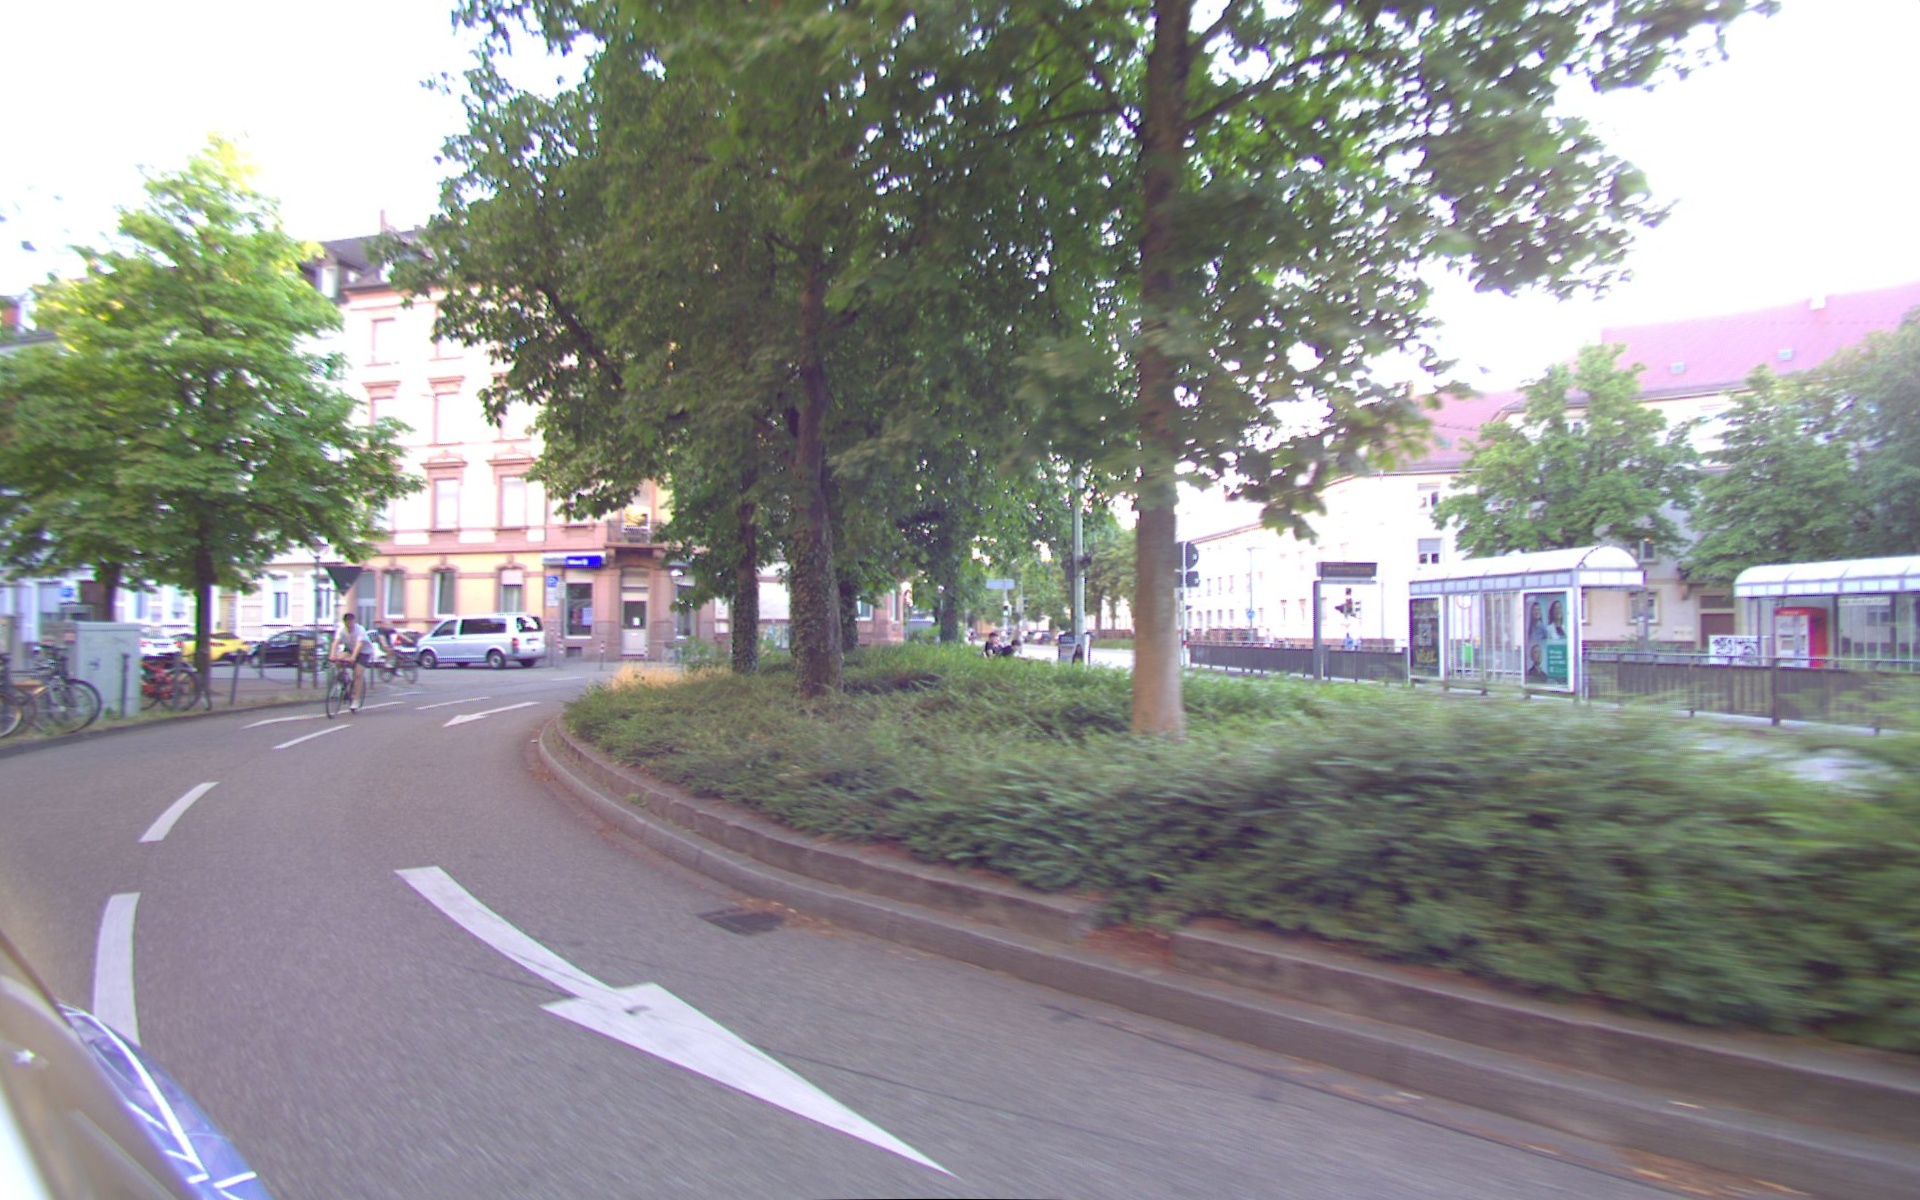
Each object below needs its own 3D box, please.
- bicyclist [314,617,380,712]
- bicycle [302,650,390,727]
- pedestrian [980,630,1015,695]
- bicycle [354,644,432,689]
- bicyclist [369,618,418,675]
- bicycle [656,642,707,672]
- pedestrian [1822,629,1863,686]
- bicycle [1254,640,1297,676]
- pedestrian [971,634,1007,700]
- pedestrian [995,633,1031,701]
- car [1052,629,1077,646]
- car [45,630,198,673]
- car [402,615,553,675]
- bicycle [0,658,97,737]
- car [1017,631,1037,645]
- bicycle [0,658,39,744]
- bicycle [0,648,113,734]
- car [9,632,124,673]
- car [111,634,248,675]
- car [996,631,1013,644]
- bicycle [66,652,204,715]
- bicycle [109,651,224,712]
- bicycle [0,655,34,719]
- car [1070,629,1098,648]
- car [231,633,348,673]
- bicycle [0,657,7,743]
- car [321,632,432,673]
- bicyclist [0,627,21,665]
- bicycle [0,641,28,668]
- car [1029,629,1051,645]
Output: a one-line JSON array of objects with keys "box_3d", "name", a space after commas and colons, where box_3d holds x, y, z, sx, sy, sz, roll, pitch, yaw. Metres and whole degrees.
[{"box_3d": [-10.111, 1.047, 16.733, 0.675, 1.524, 0.976, 0, -2, -15], "name": "bicyclist"}, {"box_3d": [-10.114, 1.416, 16.746, 0.675, 1.160, 2.121, 0, -2, -15], "name": "bicycle"}, {"box_3d": [0.863, 1.419, 23.107, 0.649, 1.442, 0.615, -1, -2, 16], "name": "pedestrian"}, {"box_3d": [-15.254, 1.777, 27.222, 2.101, 1.160, 0.681, -1, -2, 23], "name": "bicycle"}, {"box_3d": [-15.253, 1.247, 27.246, 0.966, 1.524, 0.681, -1, -2, 23], "name": "bicyclist"}, {"box_3d": [-10.374, 2.114, 37.708, 1.774, 1.091, 0.560, 0, -1, 3], "name": "bicycle"}, {"box_3d": [33.378, 2.170, 38.292, 1.059, 2.102, 1.001, -2, -3, 39], "name": "pedestrian"}, {"box_3d": [9.780, 1.783, 31.451, 0.538, 1.059, 1.858, 0, -2, -7], "name": "bicycle"}, {"box_3d": [0.653, 1.488, 22.513, 0.649, 1.442, 0.615, -1, -2, 16], "name": "pedestrian"}, {"box_3d": [1.157, 1.433, 21.903, 0.649, 1.442, 0.615, -1, -2, 16], "name": "pedestrian"}, {"box_3d": [11.379, 4.128, 110.835, 1.880, 1.864, 4.006, 0, -2, -7], "name": "car"}, {"box_3d": [-31.297, 1.907, 37.808, 4.795, 1.528, 1.990, -1, -2, 15], "name": "car"}, {"box_3d": [-17.792, 1.632, 37.337, 4.959, 2.072, 2.037, -1, -1, 16], "name": "car"}, {"box_3d": [-12.782, 1.311, 13.687, 1.580, 1.028, 0.557, 1, -2, -18], "name": "bicycle"}, {"box_3d": [8.666, 4.921, 131.838, 1.880, 1.864, 4.006, 0, -2, -7], "name": "car"}, {"box_3d": [-12.726, 1.282, 12.753, 1.580, 1.071, 0.420, 1, -2, -22], "name": "bicycle"}, {"box_3d": [-12.923, 1.254, 14.111, 1.580, 1.157, 0.557, 1, -2, -18], "name": "bicycle"}, {"box_3d": [-37.827, 2.206, 42.858, 4.109, 1.605, 1.796, -1, 0, 17], "name": "car"}, {"box_3d": [-31.675, 2.215, 41.121, 4.753, 1.537, 1.837, -1, 0, 13], "name": "car"}, {"box_3d": [6.500, 5.582, 149.323, 1.880, 1.864, 4.006, 0, -2, -7], "name": "car"}, {"box_3d": [-14.052, 1.410, 17.259, 1.870, 1.047, 0.433, 0, -2, -6], "name": "bicycle"}, {"box_3d": [-13.826, 1.415, 17.656, 1.583, 1.047, 0.433, 0, -2, -6], "name": "bicycle"}, {"box_3d": [-15.108, 1.357, 15.578, 0.425, 0.976, 1.731, 1, -2, -13], "name": "bicycle"}, {"box_3d": [12.483, 3.856, 101.995, 1.880, 1.864, 4.006, 0, -2, -7], "name": "car"}, {"box_3d": [-26.271, 2.063, 39.707, 3.703, 1.503, 1.728, -1, -1, 12], "name": "car"}, {"box_3d": [-12.755, 1.242, 12.333, 1.580, 1.084, 0.420, 1, -2, -22], "name": "bicycle"}, {"box_3d": [-22.425, 2.013, 38.954, 3.579, 1.503, 1.681, -1, -1, 15], "name": "car"}, {"box_3d": [-39.105, 1.872, 41.374, 0.867, 1.557, 0.675, -1, -2, 16], "name": "bicyclist"}, {"box_3d": [-39.127, 2.212, 41.372, 1.793, 1.103, 0.682, -1, -3, 17], "name": "bicycle"}, {"box_3d": [9.718, 4.490, 122.595, 1.880, 1.864, 4.006, 0, -2, -7], "name": "car"}]
